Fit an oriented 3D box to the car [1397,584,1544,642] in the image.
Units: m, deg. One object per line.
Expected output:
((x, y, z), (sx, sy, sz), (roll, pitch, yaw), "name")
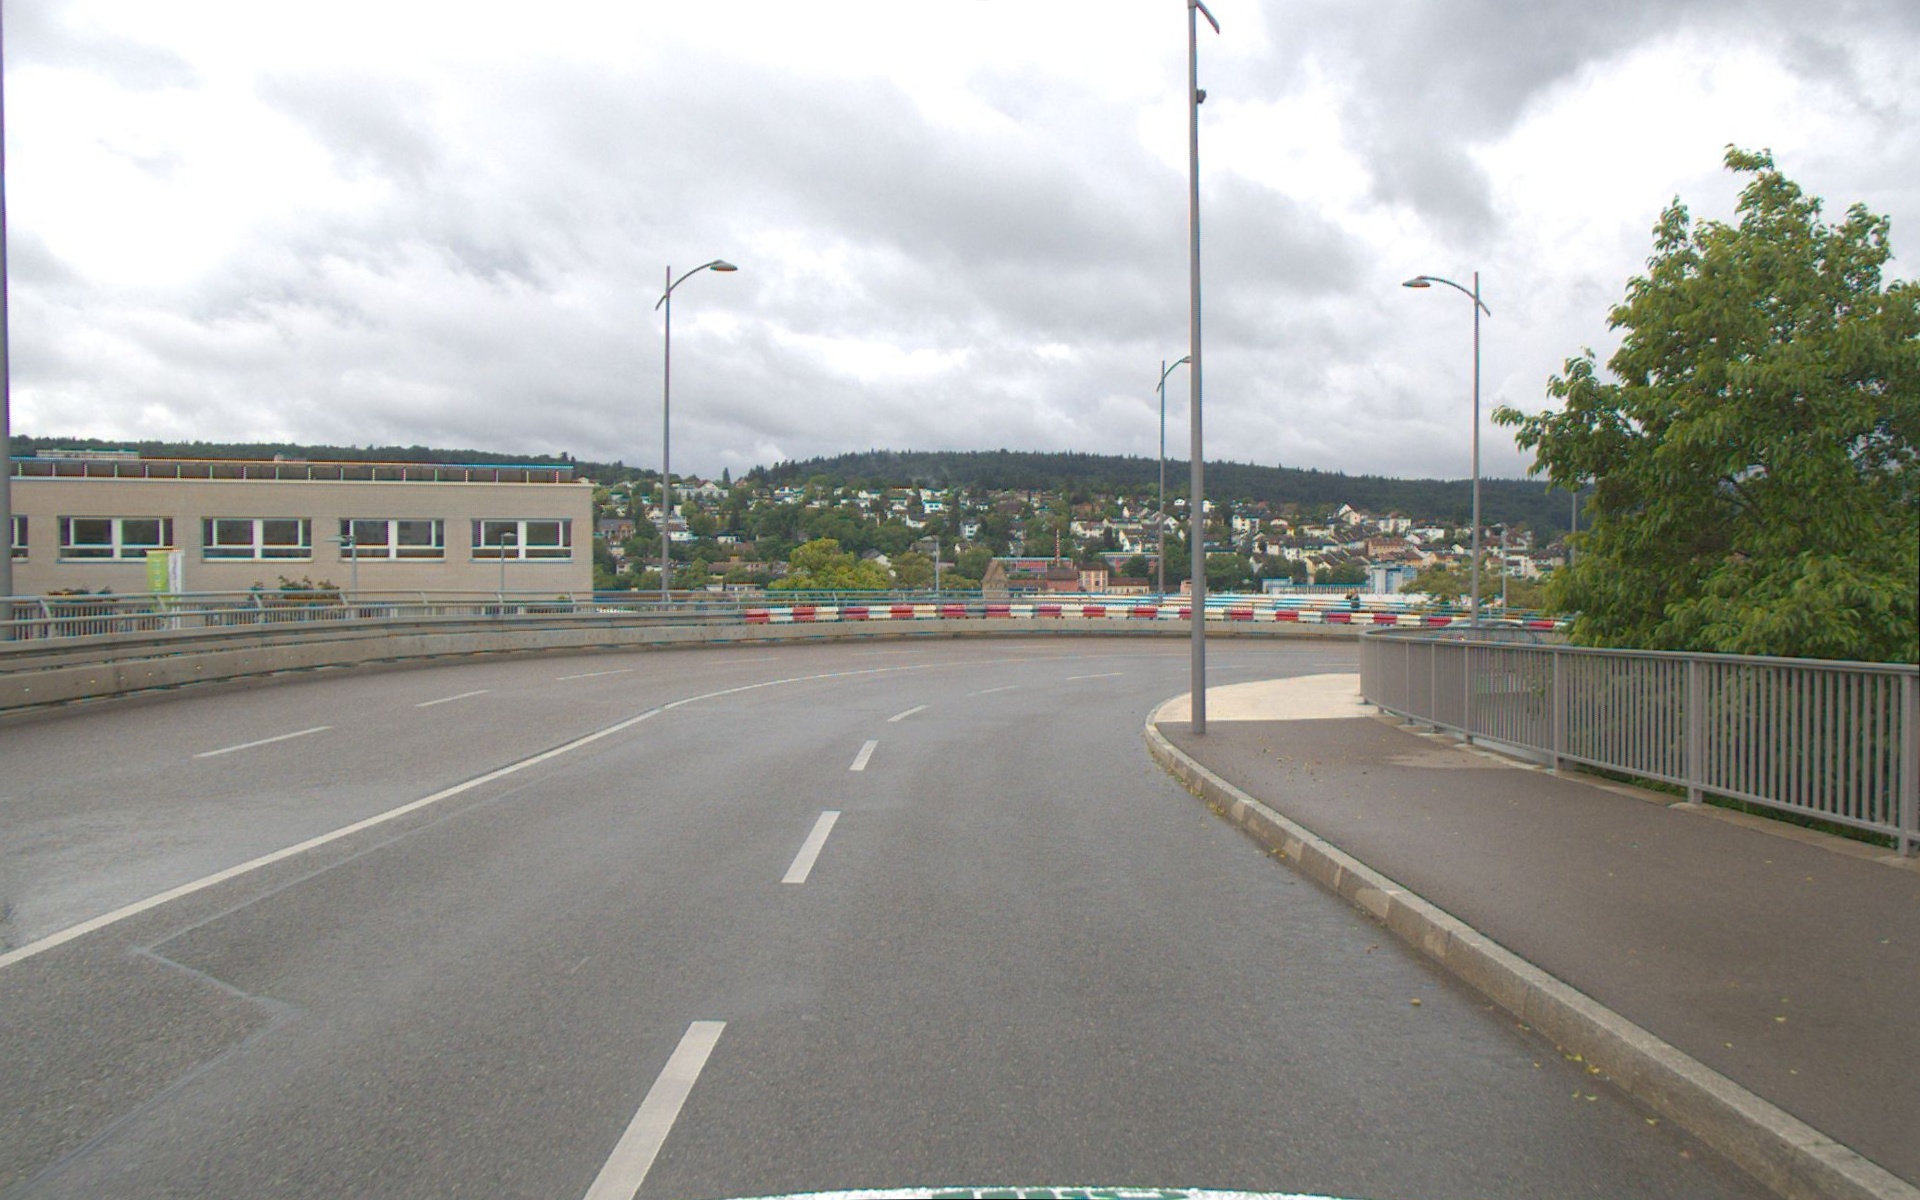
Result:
((13.516, 0.336, 43.752), (3.676, 1.444, 1.694), (1, 1, -31), "car")
